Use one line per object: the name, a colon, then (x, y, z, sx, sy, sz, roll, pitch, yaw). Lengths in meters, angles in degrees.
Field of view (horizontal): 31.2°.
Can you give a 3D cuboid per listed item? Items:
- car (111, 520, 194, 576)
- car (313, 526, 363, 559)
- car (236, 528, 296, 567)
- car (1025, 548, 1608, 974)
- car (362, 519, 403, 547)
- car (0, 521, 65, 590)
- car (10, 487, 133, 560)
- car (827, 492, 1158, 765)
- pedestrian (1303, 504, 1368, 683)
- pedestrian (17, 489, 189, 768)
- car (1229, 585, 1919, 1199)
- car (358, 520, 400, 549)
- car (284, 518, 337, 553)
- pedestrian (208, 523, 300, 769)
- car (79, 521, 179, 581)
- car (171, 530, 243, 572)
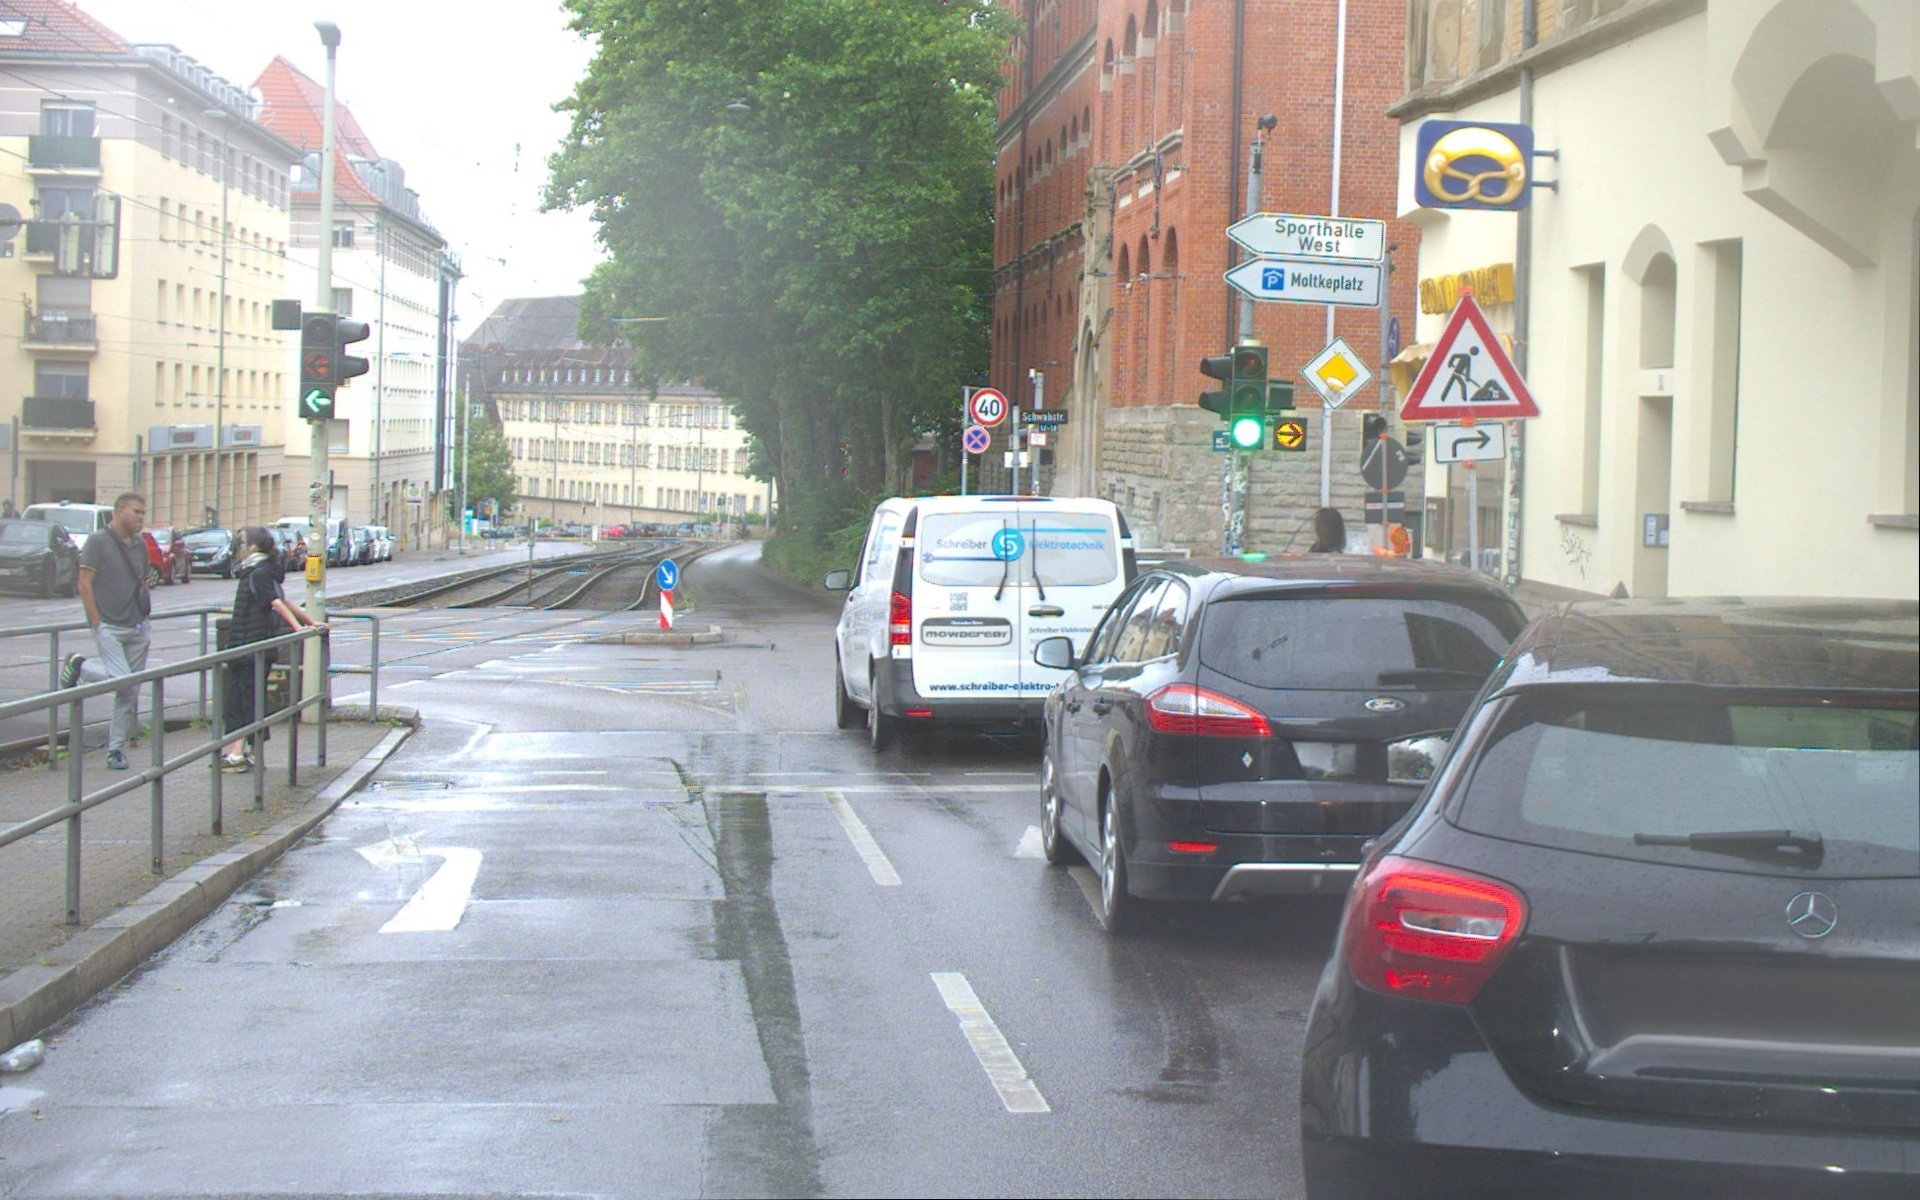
car: (-20.402, -1.332, 86.936, 1.499, 1.351, 3.162, 1, 1, -3)
car: (-22.879, -2.132, 126.494, 1.395, 1.167, 3.162, 1, 1, -3)
car: (-21.884, -1.671, 108.511, 1.395, 1.167, 3.162, 1, 1, -3)
car: (1.312, 0.544, 14.376, 1.713, 1.464, 4.281, 2, 1, -3)
car: (-24.878, -2.881, 148.086, 1.395, 1.167, 3.162, 1, 1, -3)
car: (-19.223, -0.924, 69.776, 1.451, 1.314, 3.296, 3, 1, -5)
car: (-19.637, -1.677, 76.140, 1.786, 1.525, 4.463, 1, 1, -3)
car: (0.142, 0.149, 25.724, 1.933, 1.825, 4.282, 1, 1, -6)
pedestrian: (2.700, -0.050, 24.722, 0.412, 1.266, 0.292, 2, 1, 2)
pedestrian: (-5.428, 0.173, 21.776, 0.740, 1.718, 0.739, 2, 1, 43)
car: (1.905, 0.697, 7.347, 1.896, 1.385, 3.997, 2, 1, 16)
car: (-24.266, -2.736, 143.624, 1.395, 1.167, 3.162, 1, 1, -3)
car: (-22.651, -2.247, 119.913, 1.395, 1.167, 3.162, 1, 1, -3)
pedestrian: (-4.461, 0.285, 21.731, 0.531, 1.525, 0.437, 1, 1, -11)
car: (-19.933, -1.184, 82.577, 1.680, 1.351, 3.703, 1, 1, -3)
car: (-20.882, -1.361, 95.423, 1.437, 1.103, 3.162, 1, 1, -3)
